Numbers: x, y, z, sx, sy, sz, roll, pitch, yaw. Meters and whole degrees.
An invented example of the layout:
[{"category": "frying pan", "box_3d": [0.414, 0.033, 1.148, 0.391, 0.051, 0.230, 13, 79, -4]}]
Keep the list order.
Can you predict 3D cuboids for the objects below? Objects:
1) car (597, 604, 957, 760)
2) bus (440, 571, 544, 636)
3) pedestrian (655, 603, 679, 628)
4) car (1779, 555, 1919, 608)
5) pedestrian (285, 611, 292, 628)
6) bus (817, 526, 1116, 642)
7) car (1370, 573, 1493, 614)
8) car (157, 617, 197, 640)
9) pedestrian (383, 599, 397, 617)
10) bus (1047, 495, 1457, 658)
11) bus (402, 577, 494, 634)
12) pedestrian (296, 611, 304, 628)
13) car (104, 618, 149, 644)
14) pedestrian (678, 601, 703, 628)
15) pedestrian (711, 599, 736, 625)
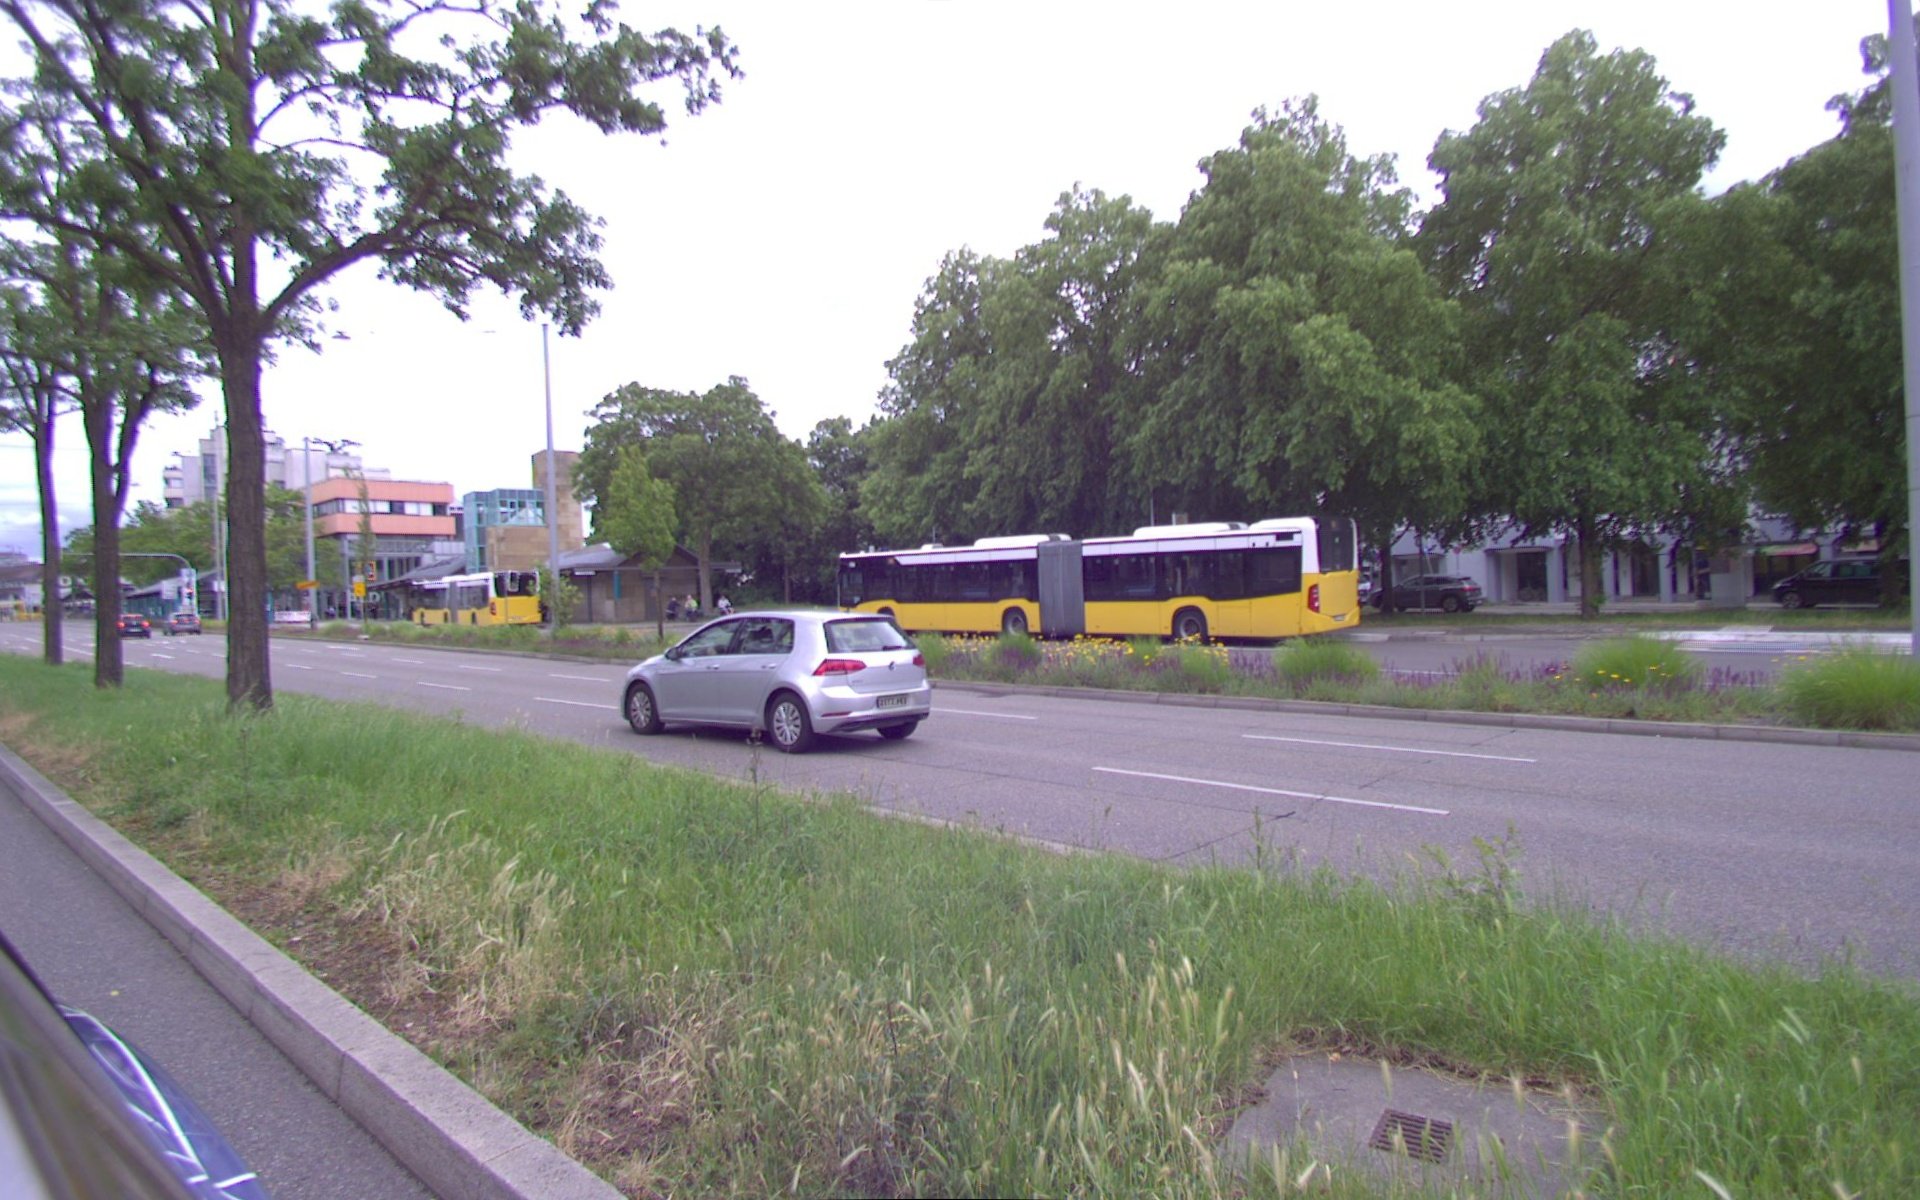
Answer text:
[{"category": "car", "box_3d": [-2.183, 0.834, 11.476, 4.129, 1.455, 1.736, -2, -2, 38]}, {"category": "bus", "box_3d": [-25.711, 0.231, 55.291, 2.774, 3.155, 9.316, -4, 2, -39]}, {"category": "pedestrian", "box_3d": [-15.039, 0.779, 51.953, 0.887, 1.264, 0.854, -1, 0, 14]}, {"category": "car", "box_3d": [34.329, -0.672, 38.245, 1.967, 1.846, 4.829, -1, 0, -34]}, {"category": "pedestrian", "box_3d": [-62.353, 1.805, 93.957, 0.521, 1.559, 0.756, -2, 0, -32]}, {"category": "bus", "box_3d": [-0.184, -0.461, 33.590, 3.050, 3.185, 10.743, -7, 4, -45]}, {"category": "car", "box_3d": [19.739, -0.245, 42.468, 1.970, 1.593, 4.251, -1, 0, -44]}, {"category": "car", "box_3d": [-54.047, 1.931, 69.816, 1.794, 1.519, 4.004, -1, 0, -43]}, {"category": "pedestrian", "box_3d": [-48.222, 0.705, 85.587, 0.975, 1.472, 0.593, -2, 0, -32]}, {"category": "bus", "box_3d": [7.058, -0.480, 26.186, 2.996, 3.481, 9.918, -4, 2, -44]}, {"category": "bus", "box_3d": [-31.751, 0.368, 62.519, 2.742, 3.155, 9.452, -4, 2, -41]}, {"category": "pedestrian", "box_3d": [-61.722, 1.827, 94.615, 0.382, 1.559, 0.479, -2, 0, 34]}, {"category": "car", "box_3d": [-51.927, 1.903, 63.001, 3.768, 1.519, 1.640, -1, 0, 43]}, {"category": "pedestrian", "box_3d": [-13.428, 0.706, 50.445, 0.888, 1.300, 0.853, -1, 0, 18]}, {"category": "pedestrian", "box_3d": [-11.919, 0.608, 51.102, 0.858, 1.264, 0.883, -2, 0, 43]}]
